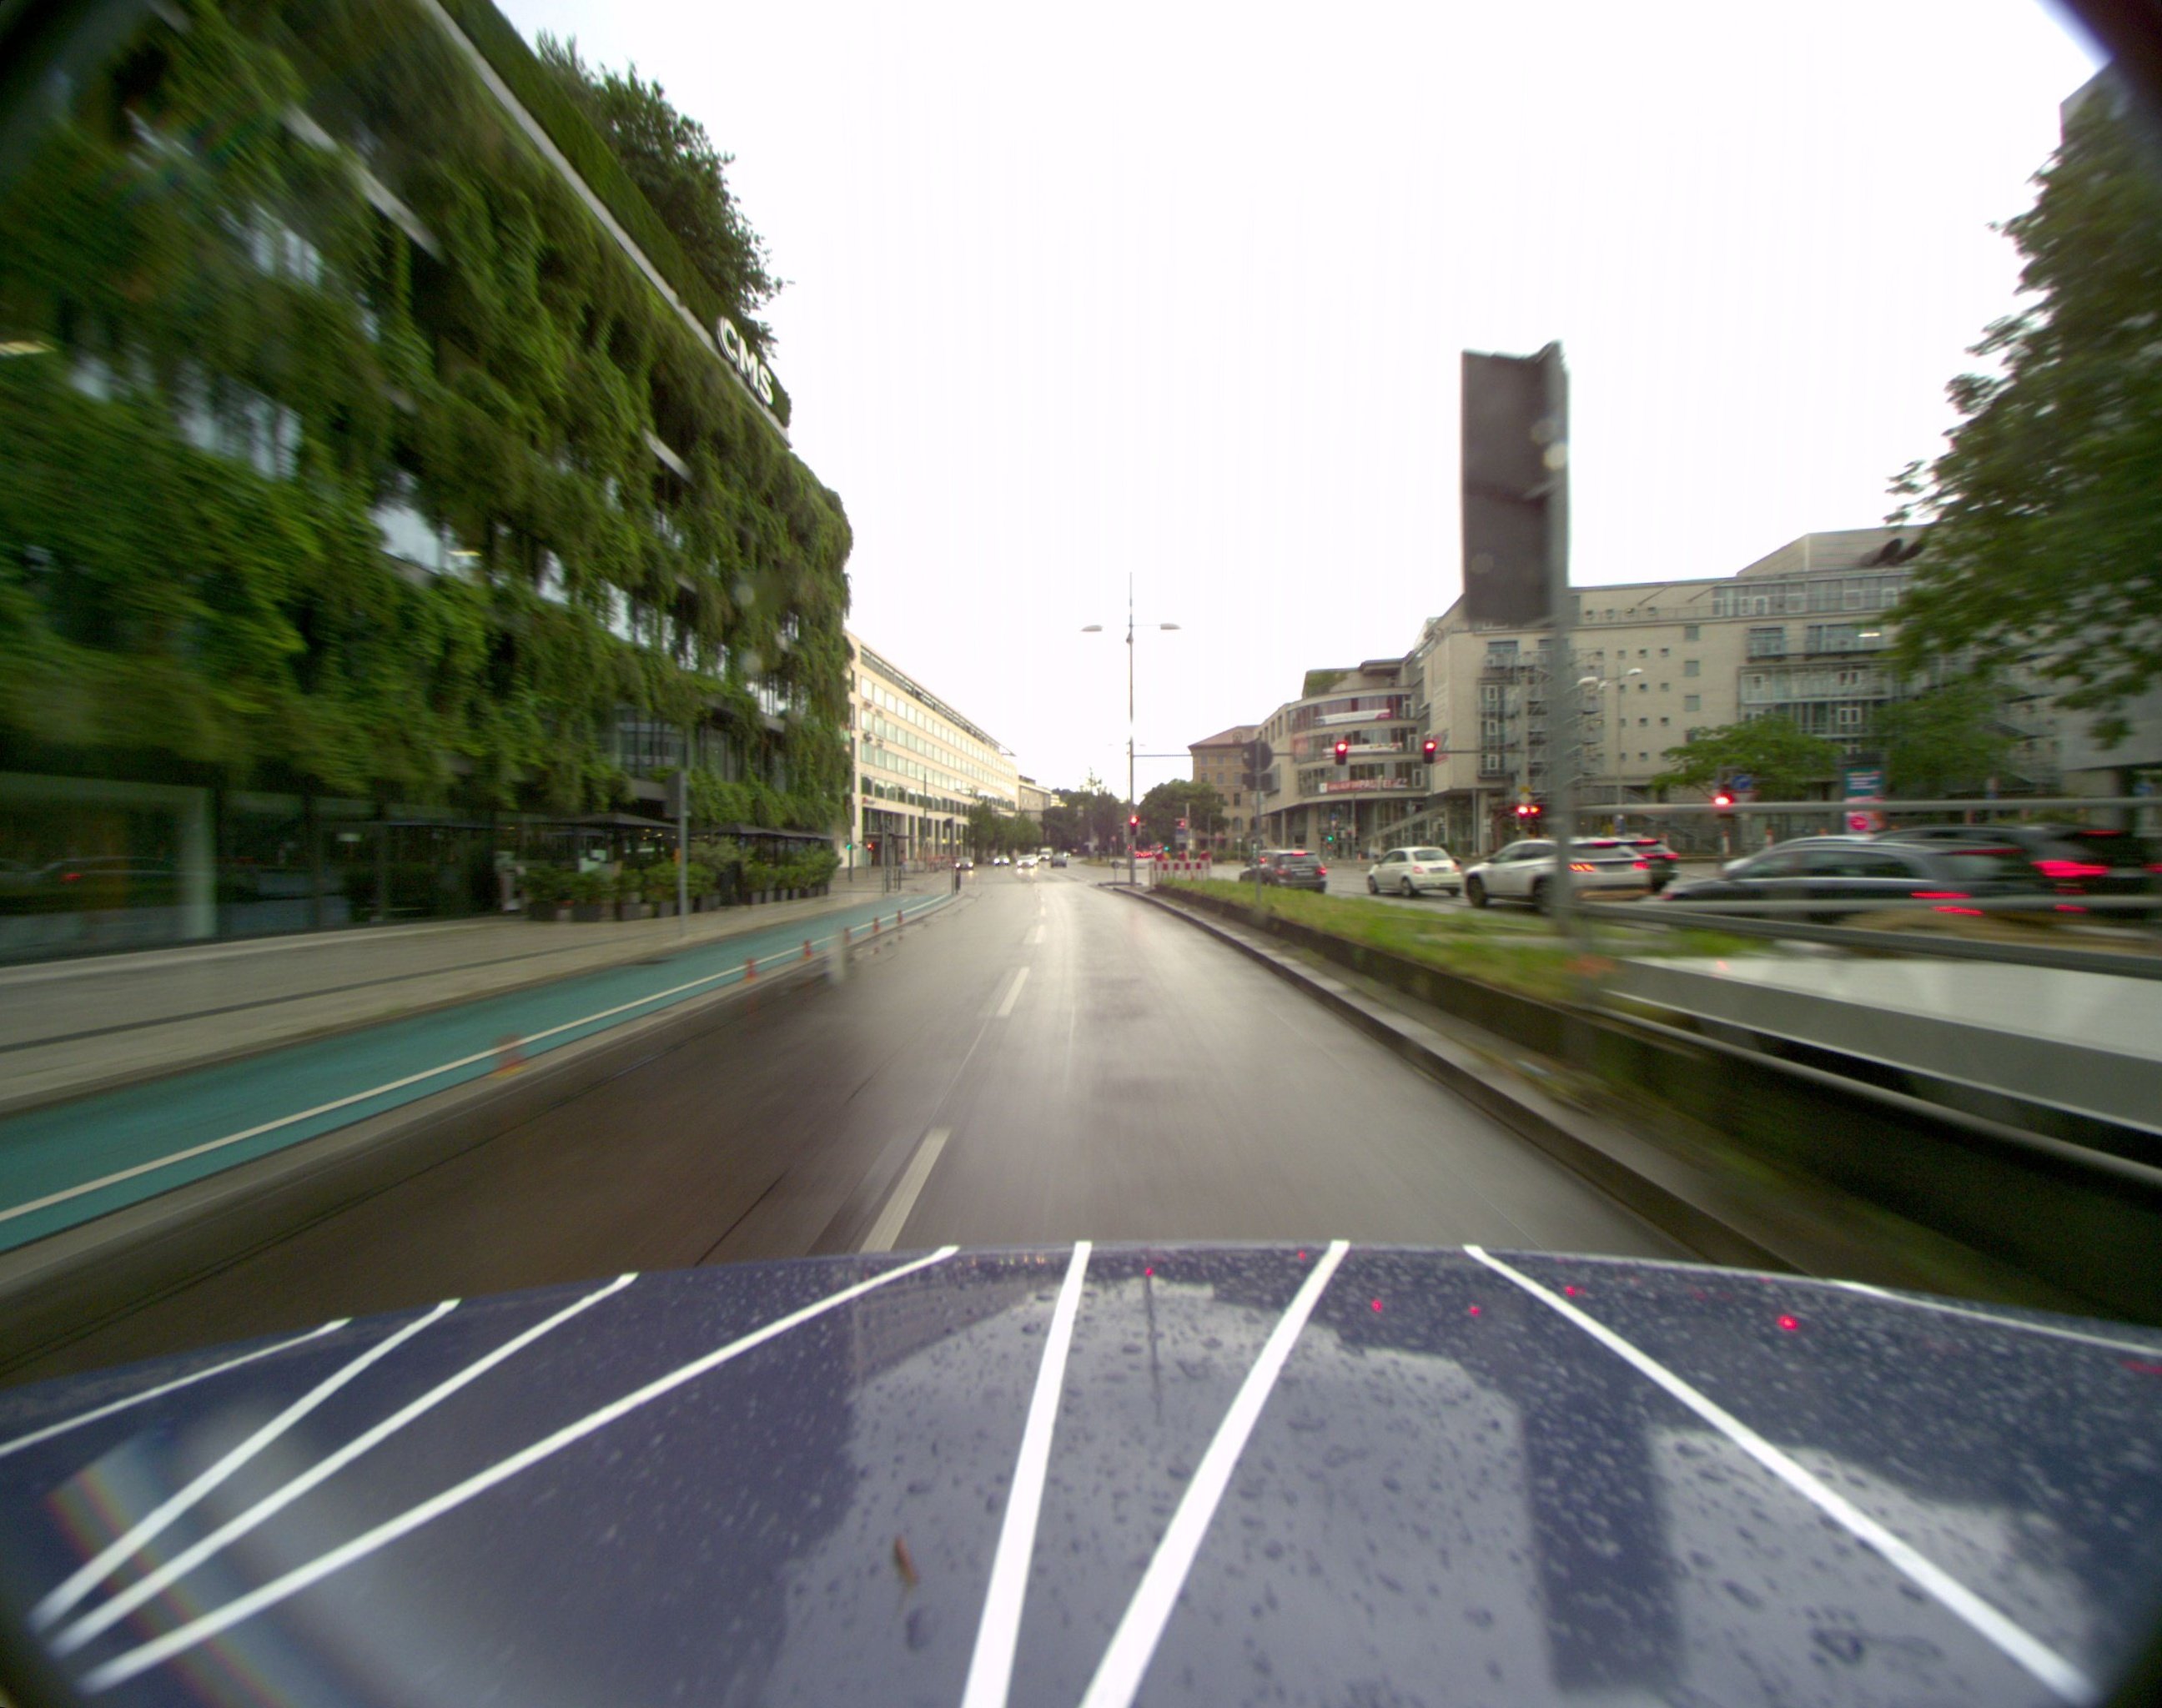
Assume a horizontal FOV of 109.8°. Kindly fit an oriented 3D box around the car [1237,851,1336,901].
[{"bbox_3d":[6.702,0.682,25.216,1.849,1.473,4.162,-1,0,-5],"label":"car"}]

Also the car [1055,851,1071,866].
[{"bbox_3d":[-2.044,0.490,84.398,1.739,1.543,4.669,-1,1,-2],"label":"car"}]

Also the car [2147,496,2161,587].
[{"bbox_3d":[18.160,-4.985,10.238,1.999,1.379,3.976,-2,1,-2],"label":"car"}]

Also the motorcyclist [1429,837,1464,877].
[{"bbox_3d":[12.882,0.111,26.779,0.789,1.383,0.733,-2,0,-7],"label":"motorcyclist"}]

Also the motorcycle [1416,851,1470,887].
[{"bbox_3d":[12.860,0.508,27.046,0.720,1.221,2.042,-2,1,-7],"label":"motorcycle"}]

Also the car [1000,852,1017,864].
[{"bbox_3d":[-10.005,0.540,104.784,1.739,1.543,4.671,-1,1,2],"label":"car"}]

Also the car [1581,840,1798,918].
[{"bbox_3d":[13.790,0.494,17.572,1.757,1.556,3.999,-2,1,-1],"label":"car"}]

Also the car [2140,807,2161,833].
[{"bbox_3d":[77.833,-2.463,53.106,4.331,1.783,2.001,-2,0,7],"label":"car"}]

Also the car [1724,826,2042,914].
[{"bbox_3d":[17.007,0.281,16.555,1.999,1.595,4.586,-2,1,-2],"label":"car"}]

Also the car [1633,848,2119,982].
[{"bbox_3d":[10.653,0.680,10.930,1.848,1.442,4.916,-1,0,0],"label":"car"}]

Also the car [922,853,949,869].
[{"bbox_3d":[-15.115,0.727,79.077,1.739,1.543,4.671,-1,1,2],"label":"car"}]

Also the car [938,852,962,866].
[{"bbox_3d":[-15.093,0.539,87.468,1.739,1.543,4.671,-1,1,2],"label":"car"}]

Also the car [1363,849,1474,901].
[{"bbox_3d":[10.390,0.609,23.628,1.722,1.467,3.429,-1,0,-4],"label":"car"}]

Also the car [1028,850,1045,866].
[{"bbox_3d":[-6.351,0.513,109.123,1.979,2.116,5.105,-2,0,0],"label":"car"}]

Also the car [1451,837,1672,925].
[{"bbox_3d":[10.614,0.531,17.321,1.882,1.675,4.797,-1,0,-2],"label":"car"}]

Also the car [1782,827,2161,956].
[{"bbox_3d":[13.987,0.473,11.999,1.848,1.655,4.412,-1,0,2],"label":"car"}]

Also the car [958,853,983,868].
[{"bbox_3d":[-11.939,0.666,82.360,1.739,1.543,4.671,-1,1,2],"label":"car"}]

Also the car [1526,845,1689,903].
[{"bbox_3d":[16.359,0.556,23.966,1.762,1.608,4.660,-2,1,-3],"label":"car"}]

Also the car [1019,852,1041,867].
[{"bbox_3d":[-5.769,0.625,86.547,1.978,1.543,4.671,-1,1,2],"label":"car"}]

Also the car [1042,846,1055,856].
[{"bbox_3d":[-6.446,-0.628,152.534,1.997,2.002,4.001,-1,1,6],"label":"car"}]
